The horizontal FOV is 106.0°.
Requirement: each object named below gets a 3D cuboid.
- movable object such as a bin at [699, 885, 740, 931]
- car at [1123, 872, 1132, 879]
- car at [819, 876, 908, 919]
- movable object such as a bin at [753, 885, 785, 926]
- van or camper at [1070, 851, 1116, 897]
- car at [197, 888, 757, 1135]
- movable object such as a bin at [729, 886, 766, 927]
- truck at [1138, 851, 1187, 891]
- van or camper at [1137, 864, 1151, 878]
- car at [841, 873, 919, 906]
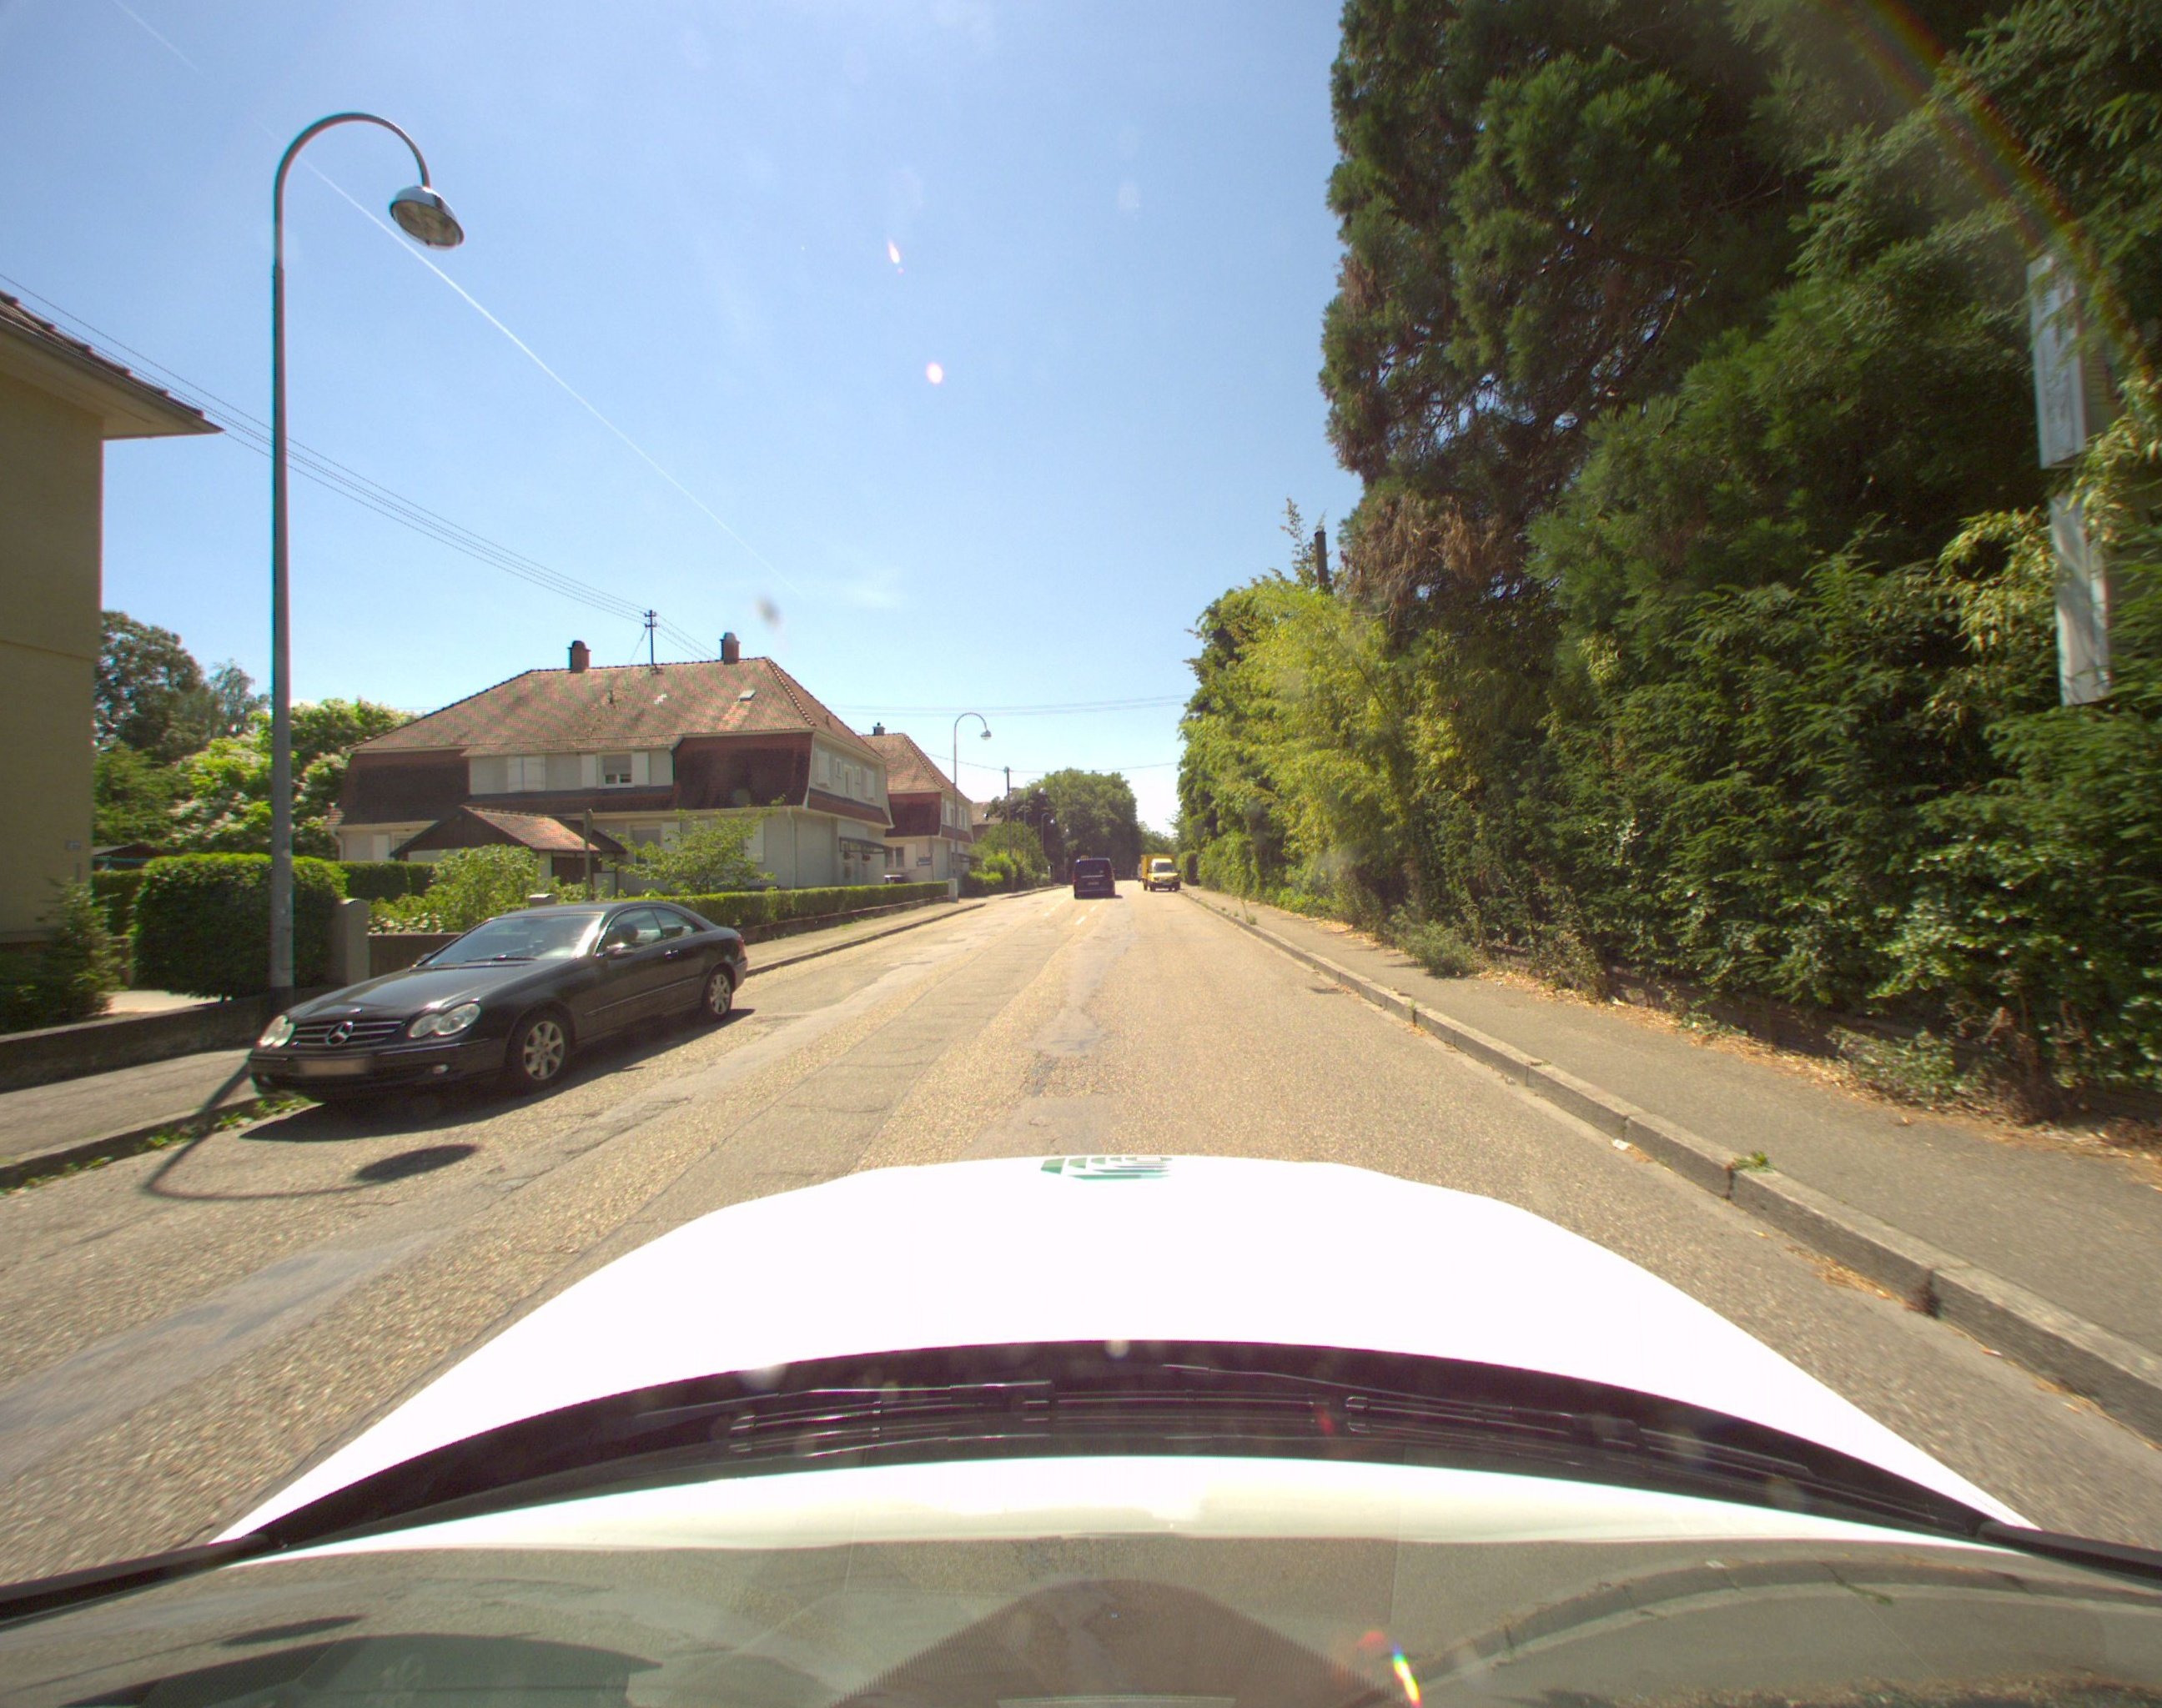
[{"bbox_3d":[-12.241,1.802,27.583,0.874,1.473,1.008,-2,-2,1],"label":"movable object such as a bin"},{"bbox_3d":[10.181,4.666,179.225,1.537,1.449,3.015,-3,-1,12],"label":"car"},{"bbox_3d":[-10.904,2.160,40.980,3.851,1.905,1.881,-3,-1,2],"label":"car"},{"bbox_3d":[-10.560,1.735,27.570,0.687,1.322,0.919,-2,-2,1],"label":"movable object such as a bin"},{"bbox_3d":[0.639,0.962,39.128,1.894,2.014,5.275,-1,-1,4],"label":"van or camper"},{"bbox_3d":[-4.858,1.130,7.543,1.659,1.386,4.384,-4,-1,3],"label":"car"},{"bbox_3d":[-11.331,1.768,27.692,0.816,1.322,0.919,-2,-2,1],"label":"movable object such as a bin"},{"bbox_3d":[4.931,1.060,50.361,2.348,2.258,6.090,-2,-1,0],"label":"truck"},{"bbox_3d":[9.199,2.466,119.657,1.985,2.014,4.003,-2,-1,3],"label":"van or camper"},{"bbox_3d":[-11.414,1.986,46.361,3.851,1.641,1.881,-3,-1,2],"label":"car"}]
